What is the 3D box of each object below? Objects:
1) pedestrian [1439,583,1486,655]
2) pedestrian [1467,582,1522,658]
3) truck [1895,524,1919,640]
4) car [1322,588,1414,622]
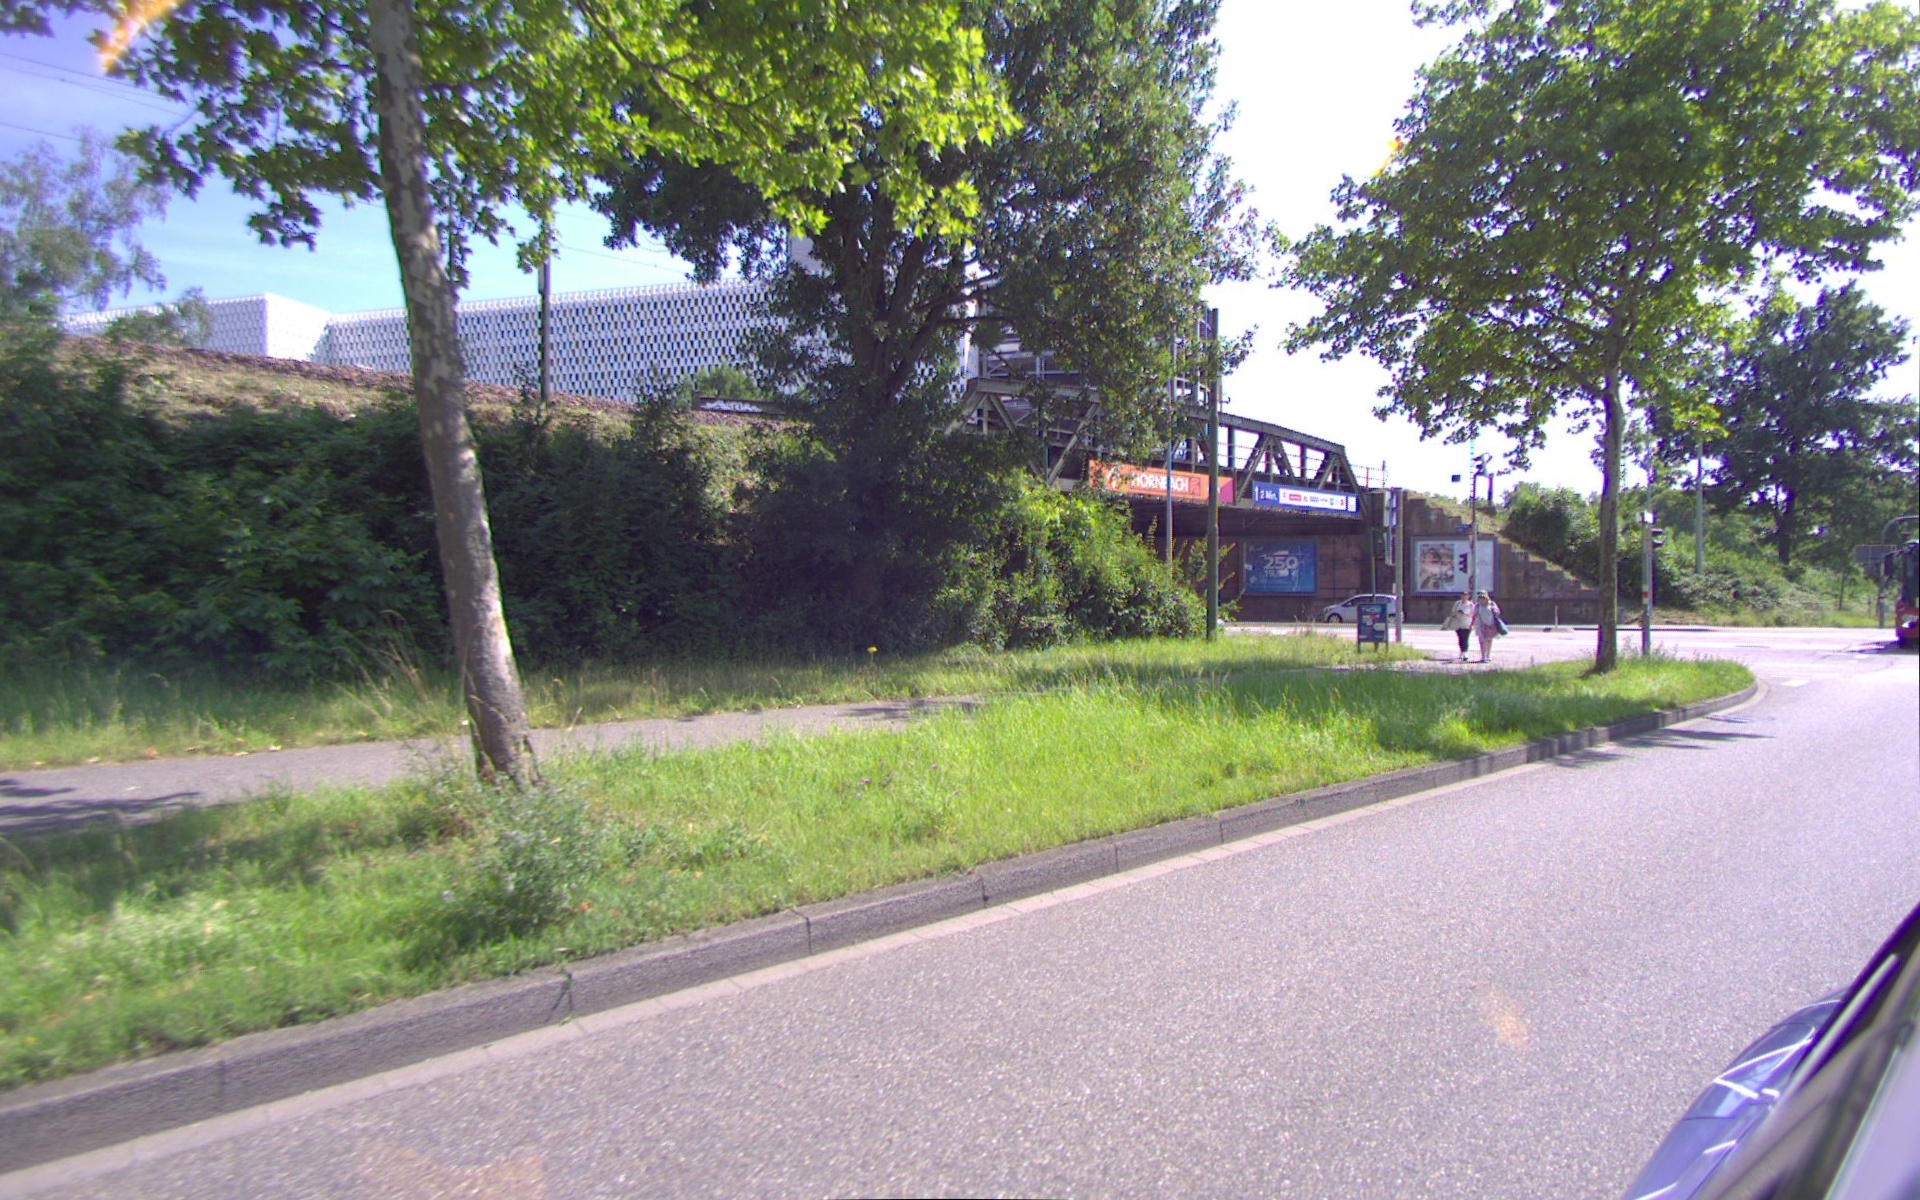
[{"bbox_3d":[11.463,0.426,23.109,0.764,1.599,0.730,0,0,-41],"label":"pedestrian"},{"bbox_3d":[11.767,0.419,22.281,0.764,1.632,0.869,0,0,-41],"label":"pedestrian"},{"bbox_3d":[30.431,-0.507,30.563,7.357,3.308,2.771,0,0,-43],"label":"truck"},{"bbox_3d":[18.083,0.221,45.025,3.627,1.455,1.697,0,0,17],"label":"car"}]
